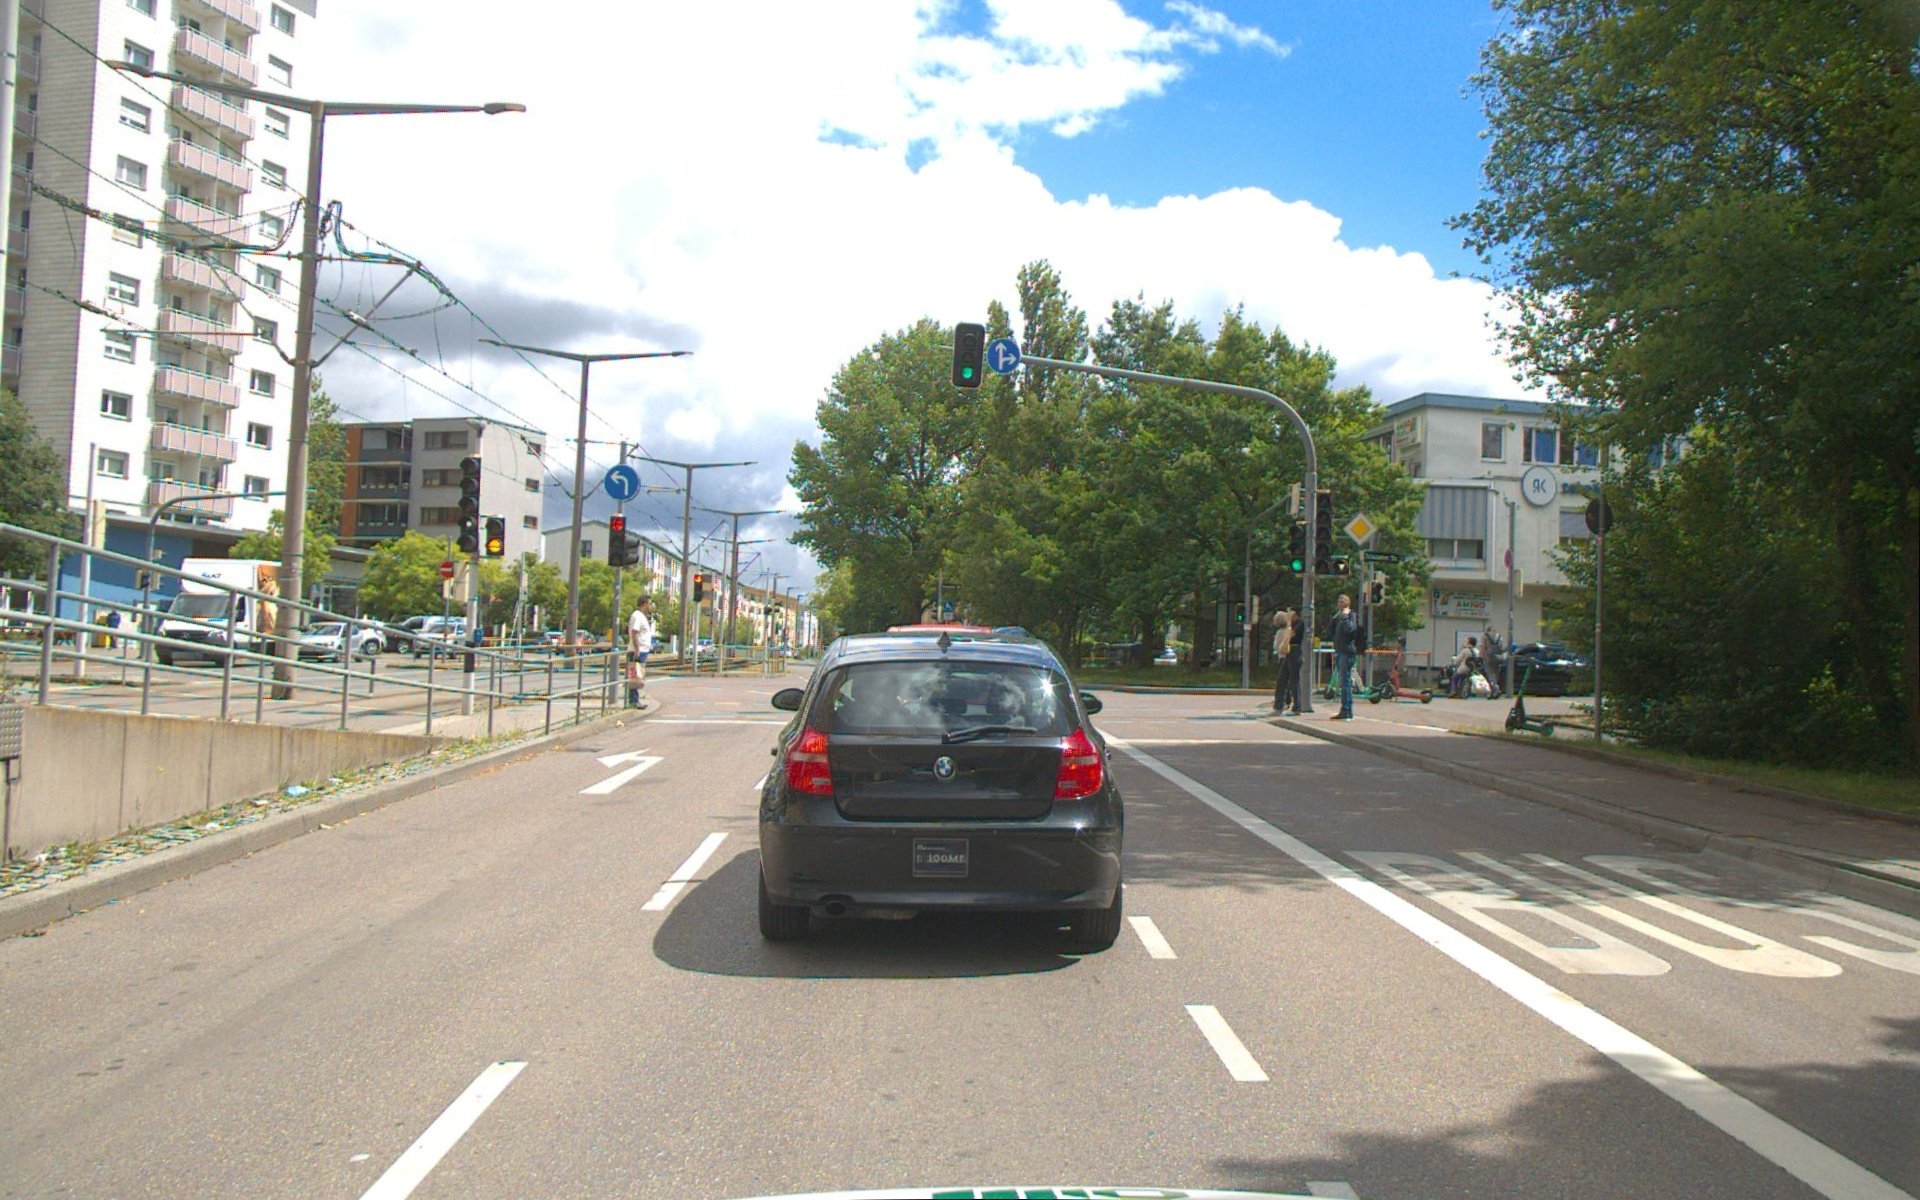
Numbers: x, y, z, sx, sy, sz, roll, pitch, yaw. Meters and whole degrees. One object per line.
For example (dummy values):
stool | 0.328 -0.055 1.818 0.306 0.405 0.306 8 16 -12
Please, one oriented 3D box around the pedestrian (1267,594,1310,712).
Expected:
pedestrian | 5.381 0.862 27.108 0.622 1.909 0.518 1 -1 5

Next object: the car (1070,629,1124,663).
car | 7.369 2.458 89.166 1.830 1.691 3.988 2 -1 -11

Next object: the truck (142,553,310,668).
truck | -21.972 0.352 49.970 2.236 3.173 7.311 2 -1 -5

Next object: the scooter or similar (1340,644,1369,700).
scooter or similar | 7.965 1.438 33.408 0.536 1.083 1.263 1 -1 13

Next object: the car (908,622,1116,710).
car | 1.049 1.171 30.308 1.865 1.447 4.529 1 -1 31

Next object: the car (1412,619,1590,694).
car | 15.507 1.607 47.495 4.450 2.049 1.996 1 -1 -8

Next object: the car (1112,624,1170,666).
car | 8.549 2.129 78.350 1.694 1.904 3.991 2 -1 -9

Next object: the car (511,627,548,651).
car | -28.578 2.592 109.919 1.559 1.500 3.773 2 -1 -2

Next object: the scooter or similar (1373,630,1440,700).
scooter or similar | 8.735 1.267 32.381 1.127 1.294 0.555 2 -1 1

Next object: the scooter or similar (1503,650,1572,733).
scooter or similar | 9.462 1.496 27.104 0.872 1.251 0.454 6 -1 -1

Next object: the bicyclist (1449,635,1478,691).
bicyclist | 10.904 1.360 35.839 0.499 1.177 0.393 2 -1 -43

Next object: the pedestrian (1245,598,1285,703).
pedestrian | 5.336 0.879 28.925 0.622 1.797 0.518 1 -1 5

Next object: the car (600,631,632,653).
car | -25.762 3.160 123.965 1.618 1.561 3.869 1 -1 -2

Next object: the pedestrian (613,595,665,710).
pedestrian | -5.042 0.819 25.988 0.673 1.764 0.687 1 -1 -1

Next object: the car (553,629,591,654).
car | -24.875 2.644 106.008 1.618 1.561 3.869 1 -1 -2

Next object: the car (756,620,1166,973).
car | -0.014 0.832 8.540 1.665 1.424 3.419 1 -1 -1

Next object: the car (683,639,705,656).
car | -25.225 4.465 156.858 1.618 1.561 3.869 1 -1 -2

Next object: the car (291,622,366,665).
car | -22.847 1.559 59.977 1.379 1.486 3.772 2 -1 -3

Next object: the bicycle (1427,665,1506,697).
bicycle | 10.949 1.746 35.784 0.530 0.620 1.565 3 -1 -43

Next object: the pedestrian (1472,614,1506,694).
pedestrian | 11.755 1.192 36.730 0.644 1.743 0.461 0 -1 26

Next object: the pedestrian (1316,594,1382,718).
pedestrian | 6.124 0.871 26.067 0.779 1.909 1.013 1 -1 -1

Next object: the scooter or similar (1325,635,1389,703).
scooter or similar | 7.525 1.300 31.384 1.087 1.257 0.539 1 -1 1

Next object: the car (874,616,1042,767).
car | -0.042 0.910 17.721 1.605 1.424 3.419 1 -1 -1

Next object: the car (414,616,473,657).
car | -23.436 1.641 75.136 1.559 1.787 3.773 2 -1 -2

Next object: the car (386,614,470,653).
car | -27.977 1.782 86.991 3.892 2.009 1.630 2 -1 -43

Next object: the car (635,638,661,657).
car | -27.000 4.071 143.383 1.618 1.561 3.869 1 -1 -2

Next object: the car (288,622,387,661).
car | -28.518 1.905 75.832 1.628 1.676 3.898 0 -1 43
